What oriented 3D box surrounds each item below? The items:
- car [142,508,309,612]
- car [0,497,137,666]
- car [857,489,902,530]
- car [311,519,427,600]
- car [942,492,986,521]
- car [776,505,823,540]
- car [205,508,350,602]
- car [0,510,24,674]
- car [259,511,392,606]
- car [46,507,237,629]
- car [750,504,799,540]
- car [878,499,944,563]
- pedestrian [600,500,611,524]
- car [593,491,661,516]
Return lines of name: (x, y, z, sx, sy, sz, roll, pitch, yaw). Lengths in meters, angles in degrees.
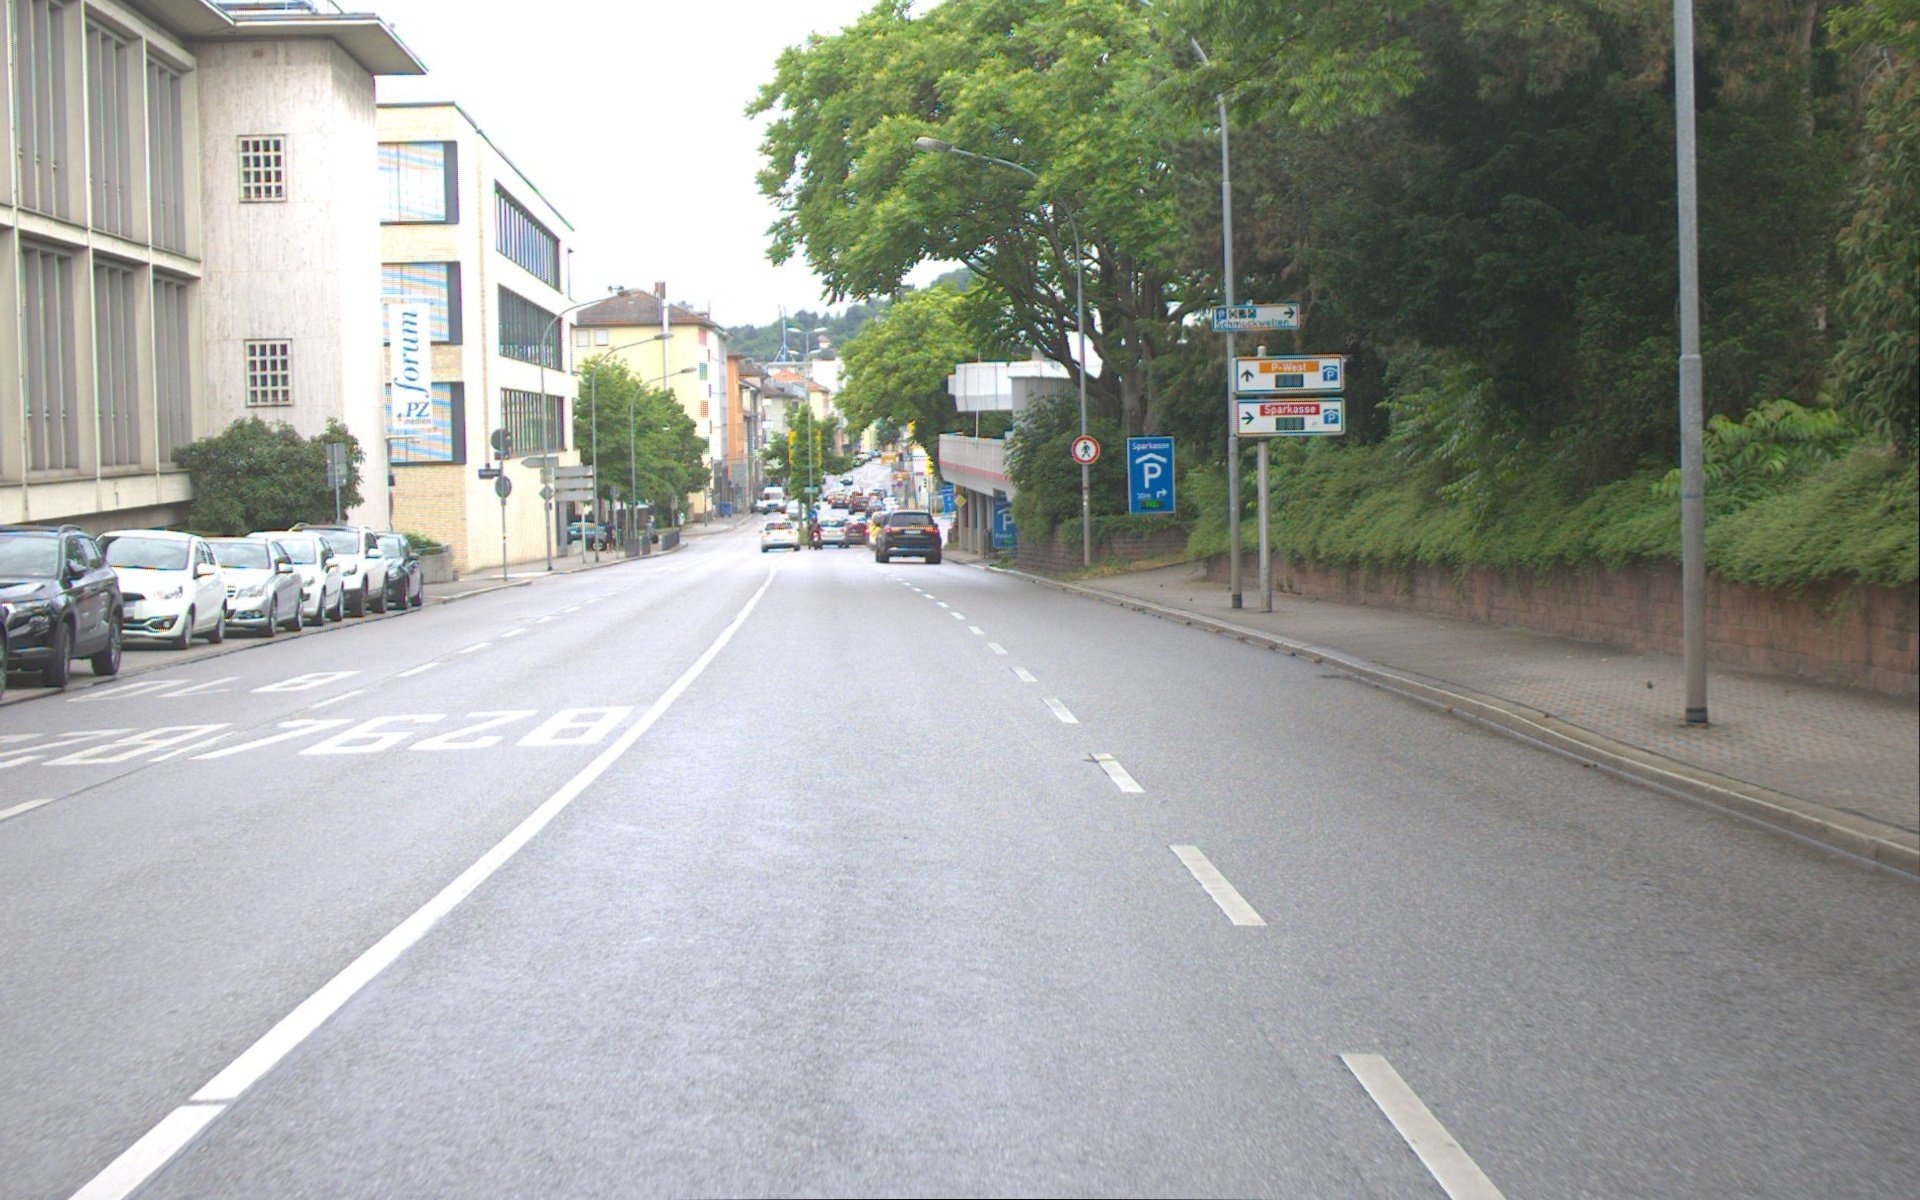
car: (-10.700, -0.608, 50.342, 1.748, 1.430, 4.487, 1, 1, -4)
car: (-9.943, -0.227, 35.851, 1.841, 1.647, 4.516, 1, 1, -3)
car: (-3.876, -4.384, 165.622, 1.993, 1.831, 4.001, -3, 3, -3)
car: (-11.353, -0.805, 66.295, 1.748, 1.475, 4.182, 1, 2, -4)
car: (0.258, -5.800, 212.857, 1.994, 1.674, 3.999, -2, 2, 11)
car: (-7.983, -3.864, 170.943, 1.993, 1.674, 4.001, -1, 2, -7)
car: (-11.030, -0.759, 55.796, 1.748, 1.449, 4.182, 1, 2, -4)
car: (-9.578, 0.000, 29.422, 1.815, 1.478, 4.910, -1, 2, -1)
car: (-11.243, -0.769, 61.110, 1.748, 1.592, 4.182, 1, 2, -3)
car: (-10.684, -0.457, 45.116, 1.679, 1.517, 3.921, 0, 2, -2)
car: (-8.805, -3.722, 162.859, 1.993, 1.674, 4.001, 0, 2, -7)
car: (-1.657, -2.318, 114.708, 2.091, 1.904, 4.100, -3, 3, -1)
pedestrian: (-18.872, -4.704, 183.155, 0.454, 1.274, 0.454, 0, 2, 9)
car: (-18.562, -5.377, 191.634, 3.654, 1.230, 1.441, -2, 2, -8)
